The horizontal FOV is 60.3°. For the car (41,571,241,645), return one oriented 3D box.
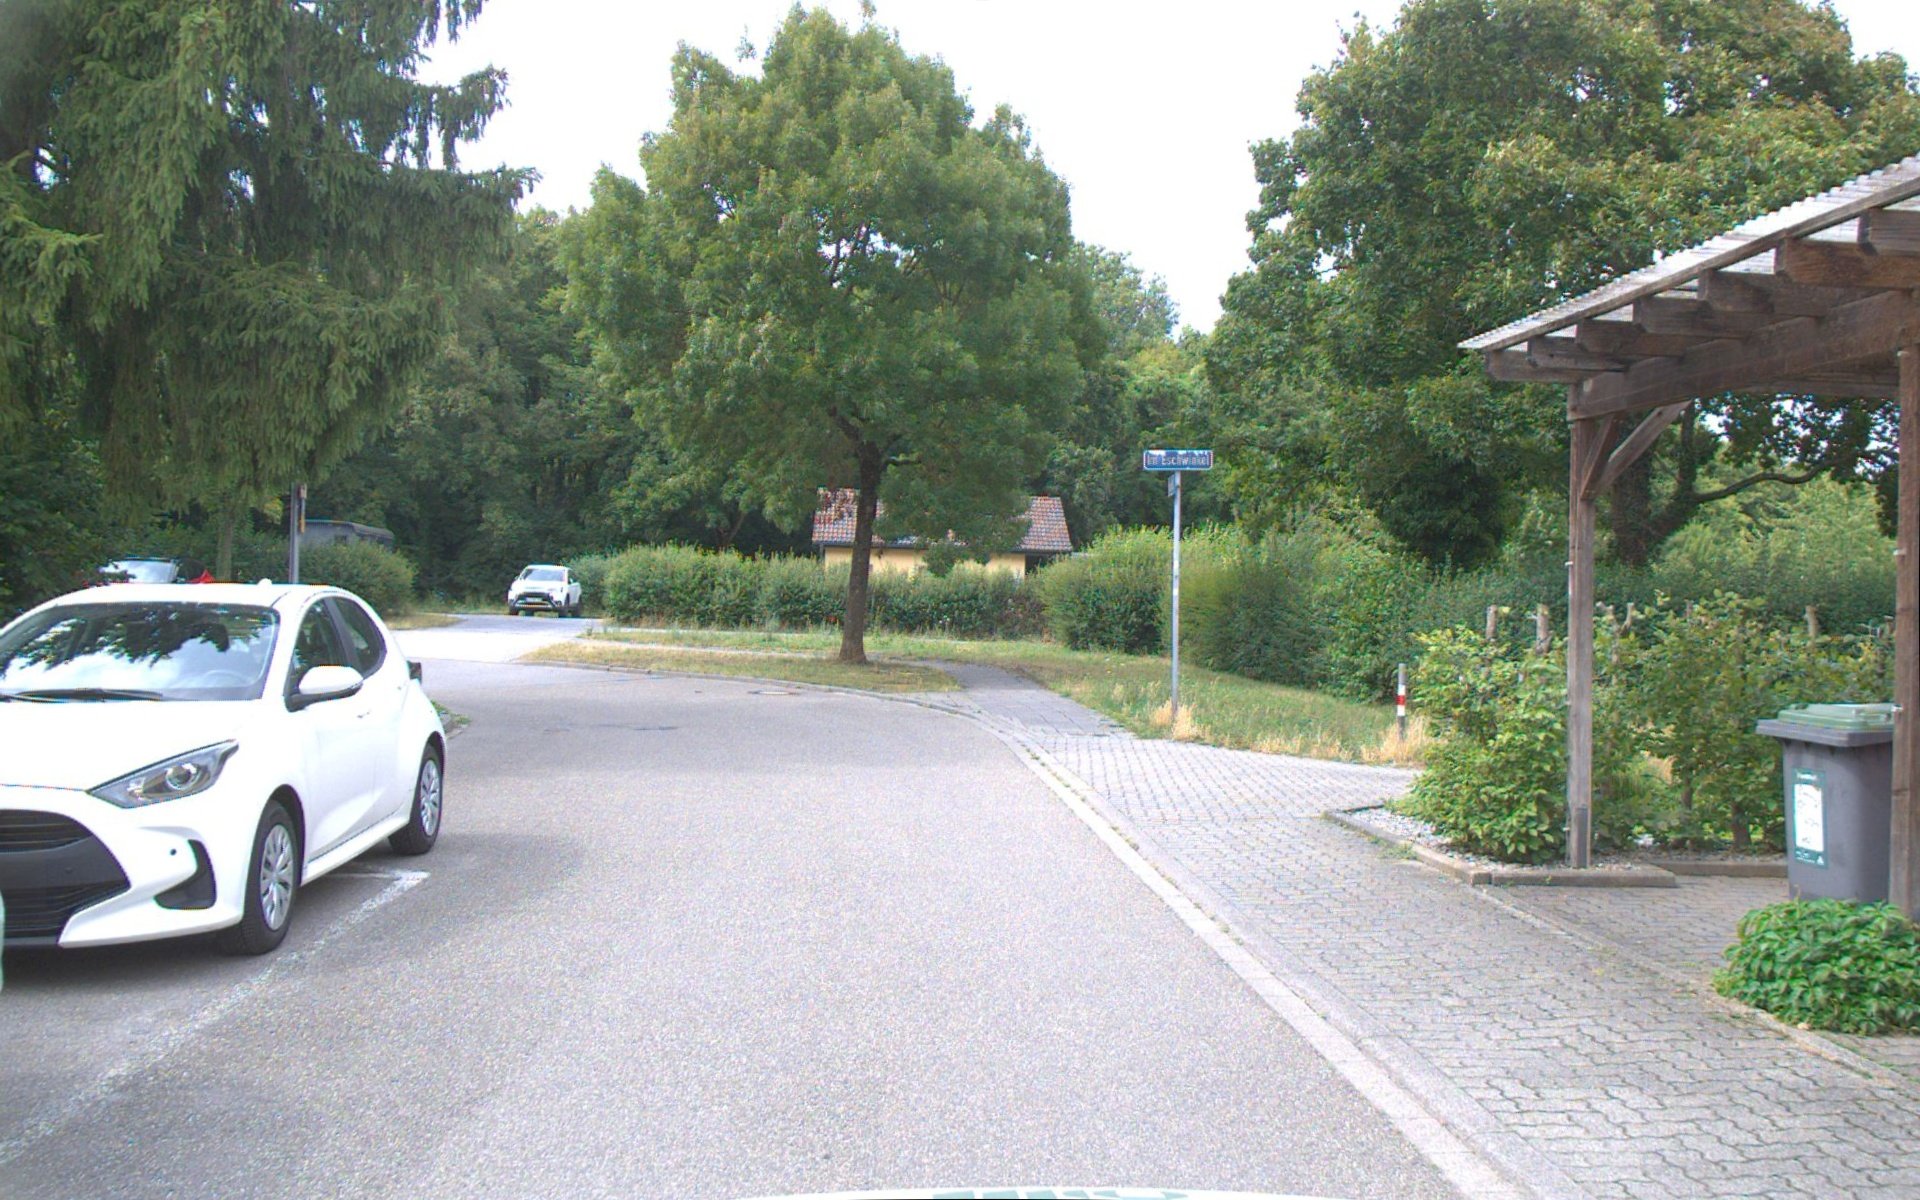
[{"bbox_3d":[-16.244,0.133,33.111,1.955,1.313,4.689,2,0,-5],"label":"car"}]

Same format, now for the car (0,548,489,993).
[{"bbox_3d":[-3.616,0.579,7.854,1.756,1.558,4.137,1,0,-3],"label":"car"}]

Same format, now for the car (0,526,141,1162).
[{"bbox_3d":[-3.160,0.610,2.417,1.774,1.589,4.844,1,0,-4],"label":"car"}]

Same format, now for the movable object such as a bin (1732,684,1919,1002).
[{"bbox_3d":[3.467,0.887,6.301,0.685,1.091,0.710,0,0,-7],"label":"movable object such as a bin"}]

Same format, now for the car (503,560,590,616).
[{"bbox_3d":[-13.212,-0.389,53.069,1.899,1.689,4.338,1,0,-3],"label":"car"}]
